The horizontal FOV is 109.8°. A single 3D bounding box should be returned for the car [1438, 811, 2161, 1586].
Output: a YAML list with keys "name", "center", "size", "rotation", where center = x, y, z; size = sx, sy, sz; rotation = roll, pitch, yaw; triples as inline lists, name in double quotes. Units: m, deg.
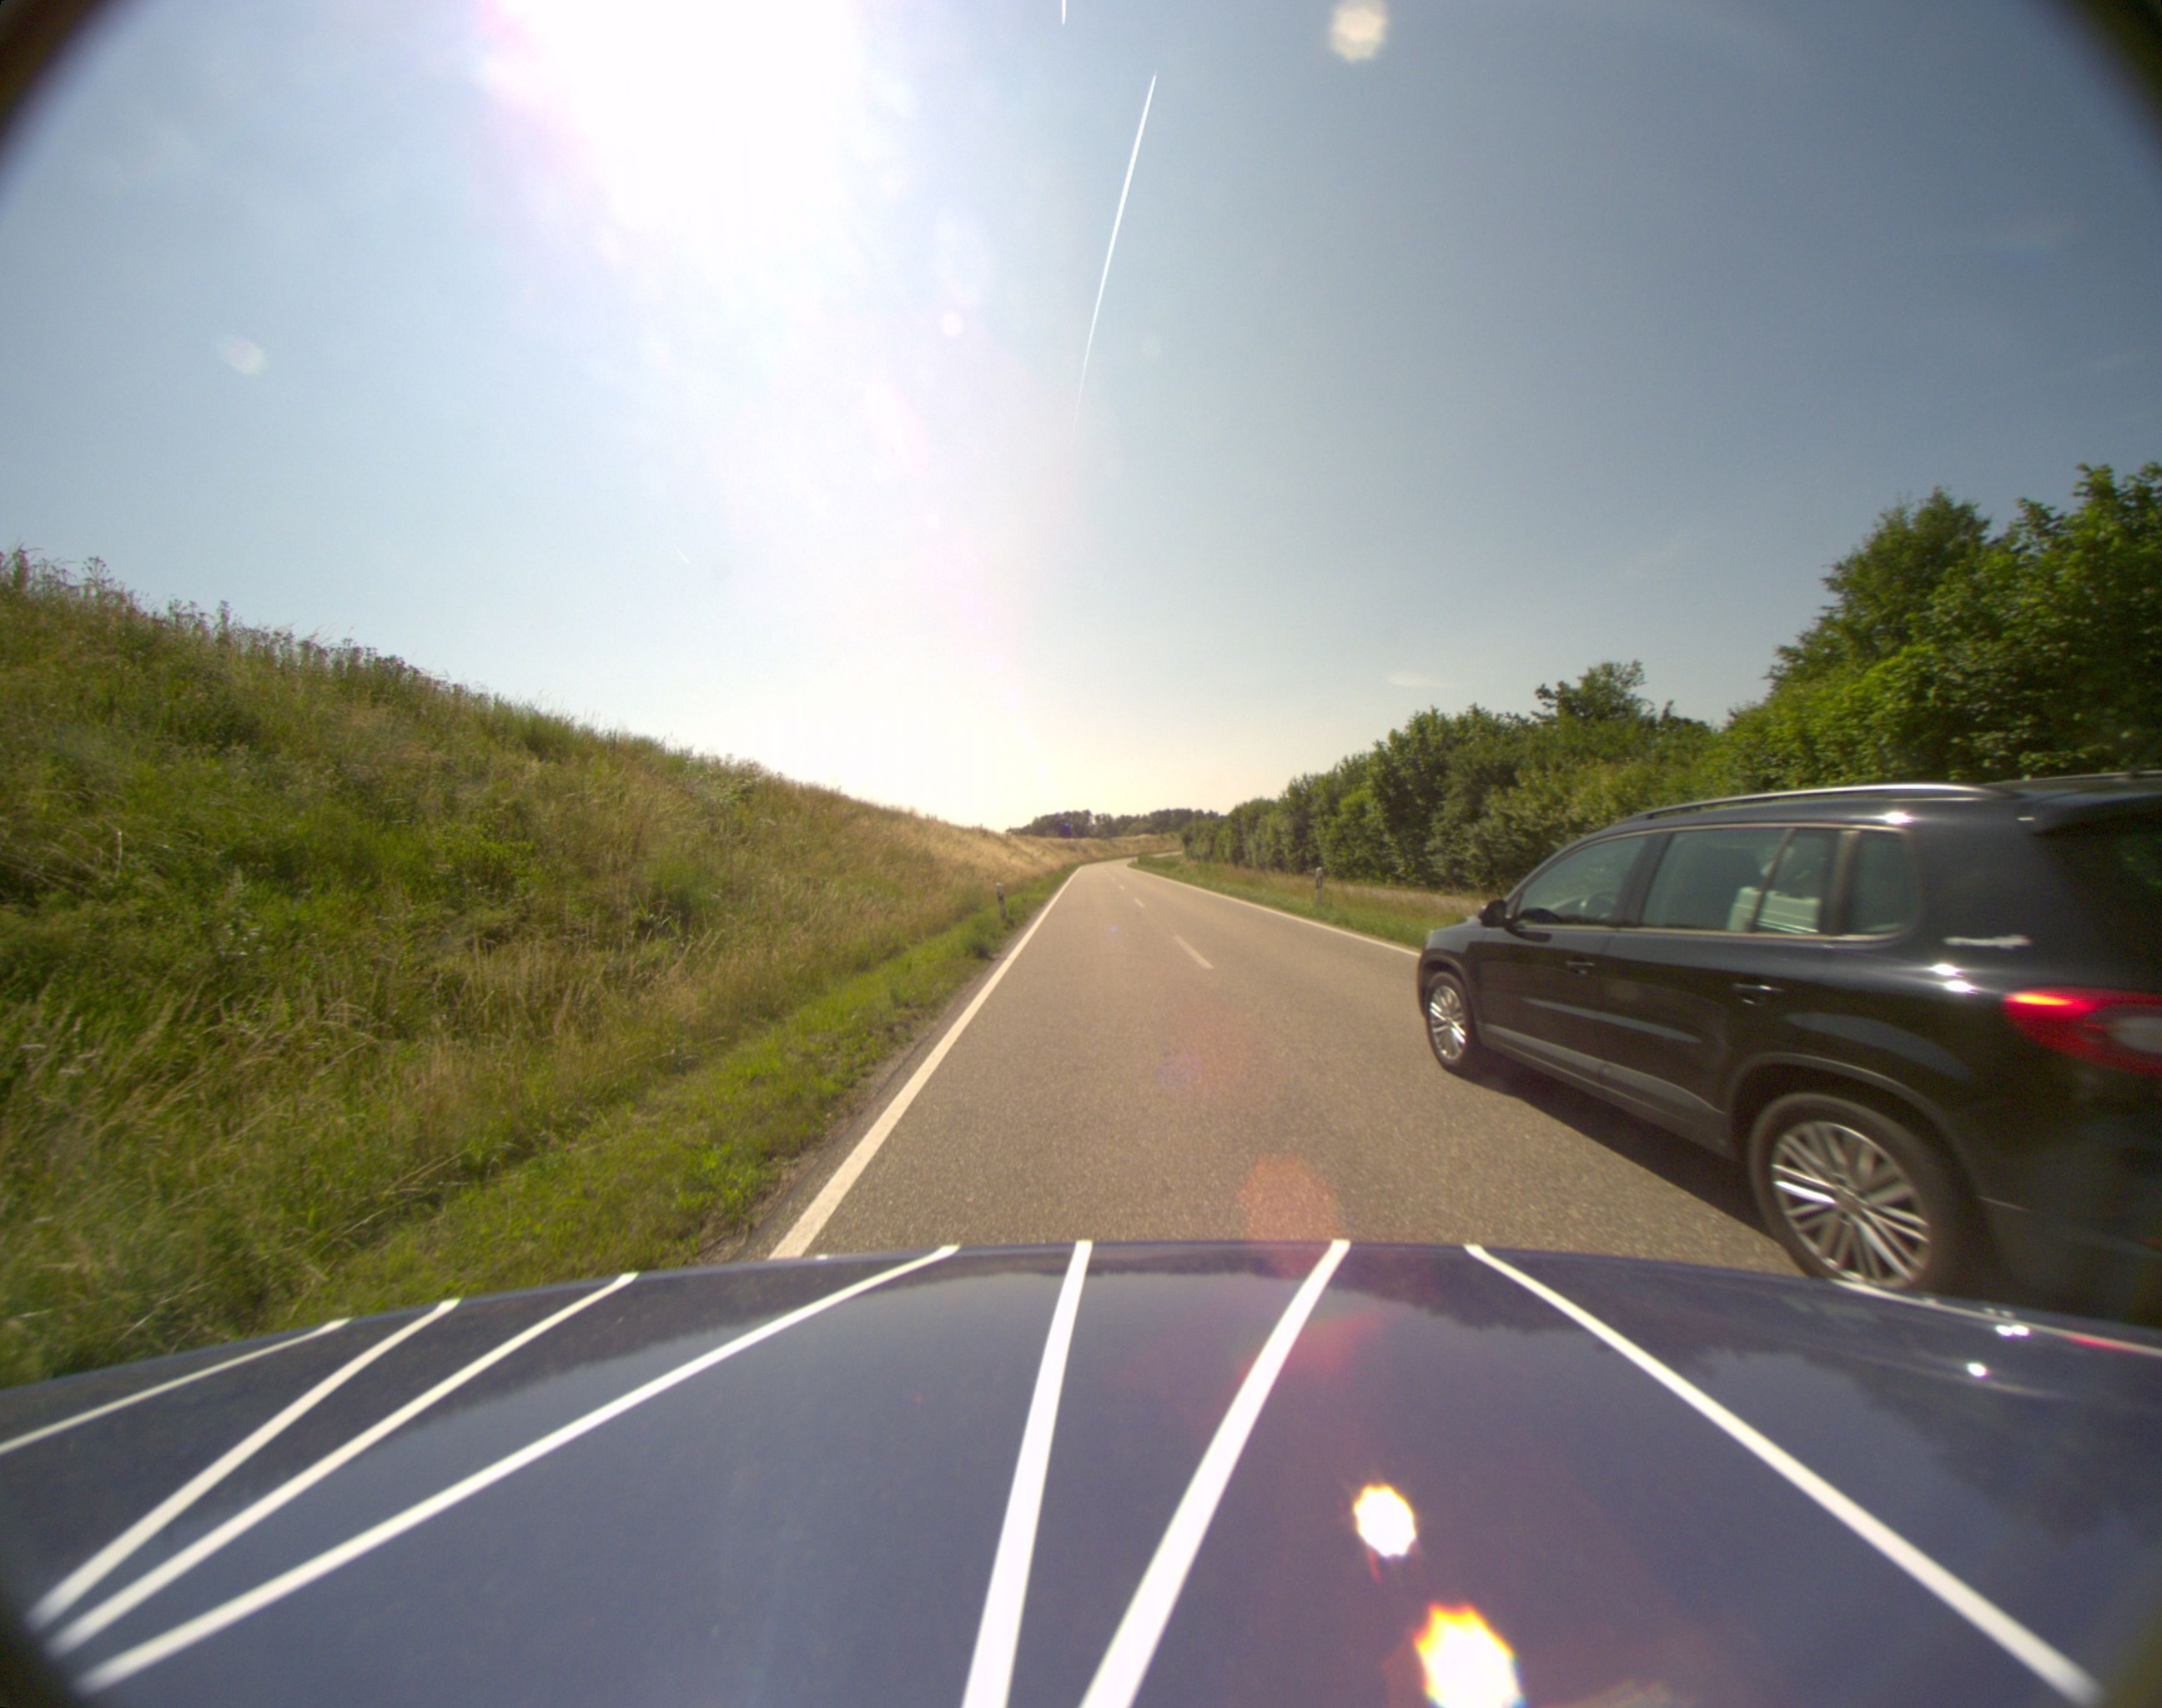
- name: "car"
  center: [3.150, 0.697, 2.926]
  size: [1.720, 1.637, 3.915]
  rotation: [-3, 0, 1]
